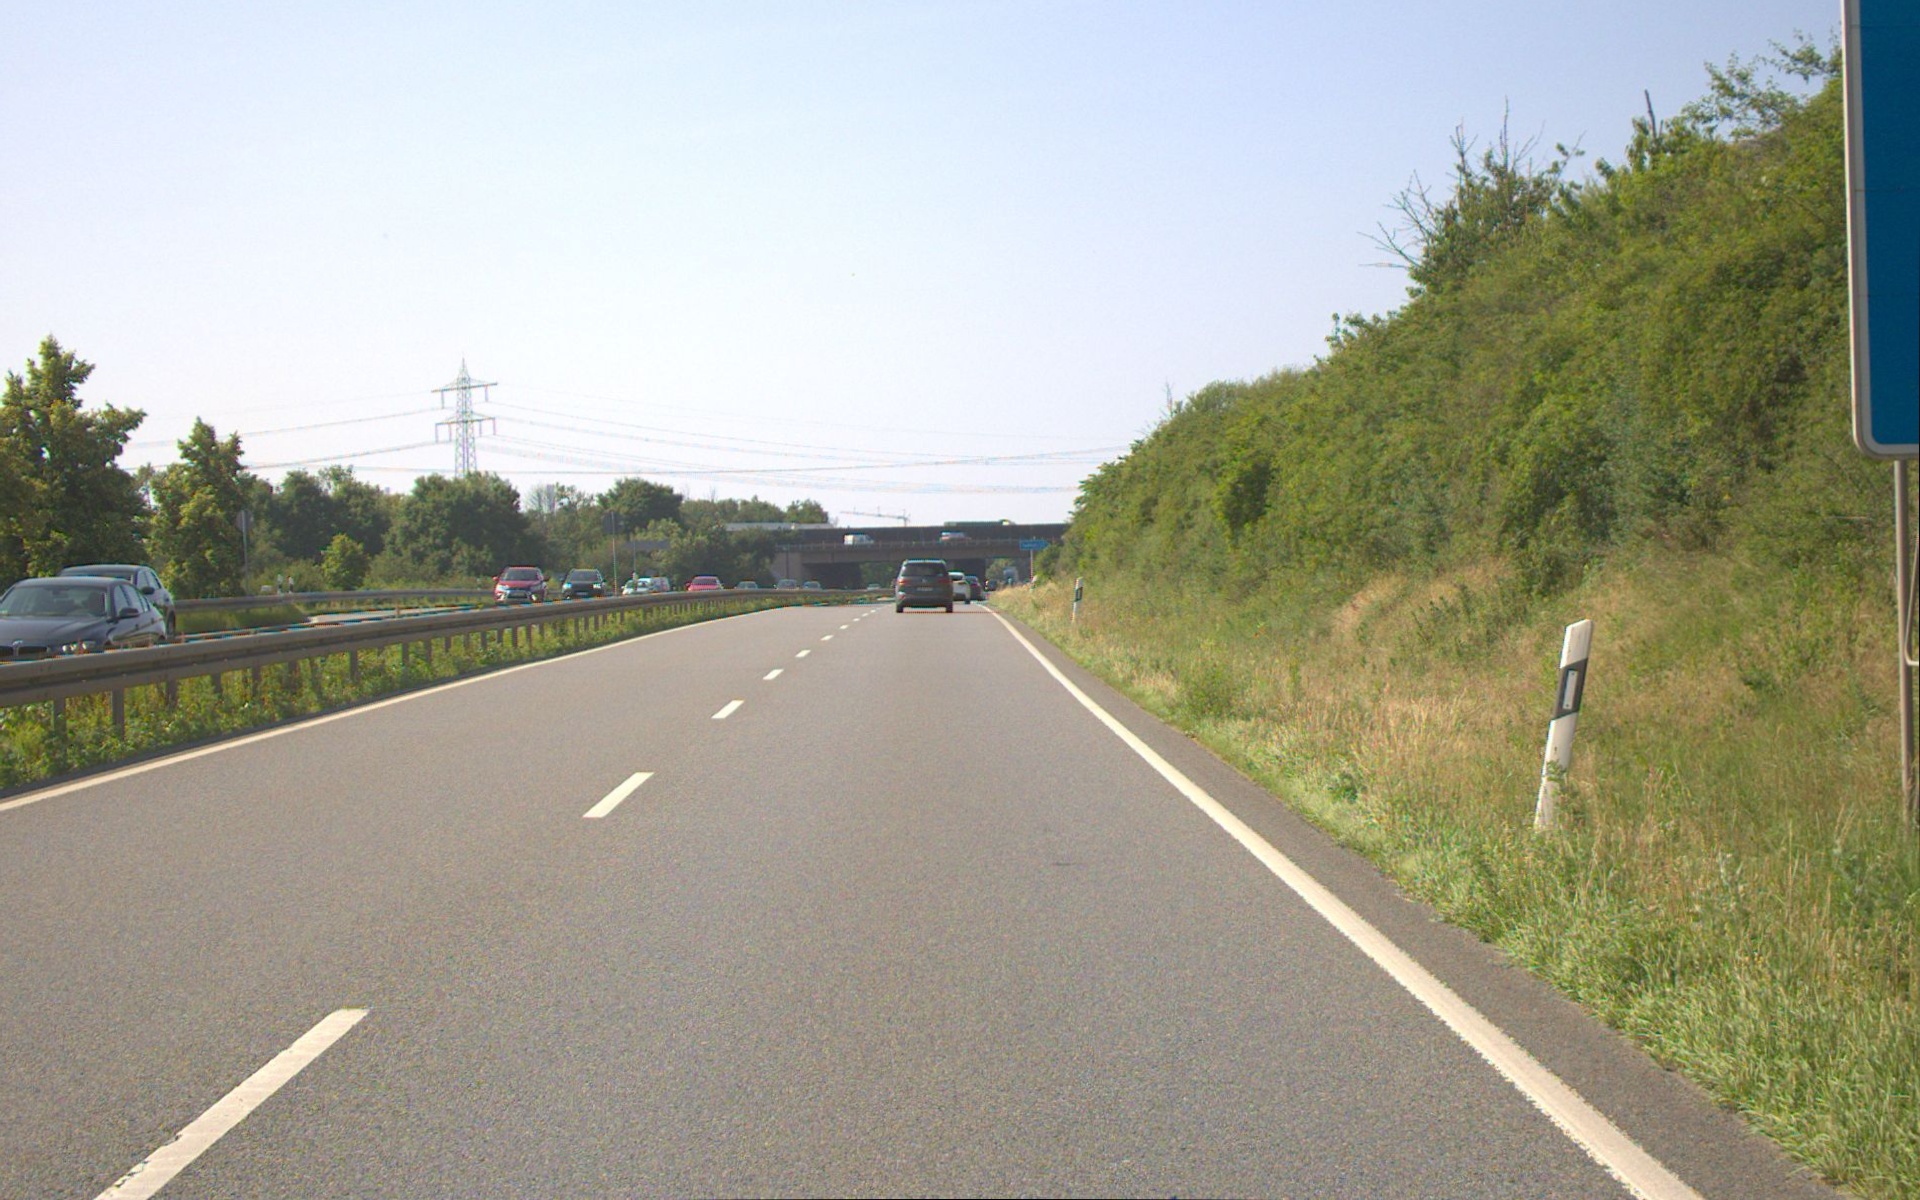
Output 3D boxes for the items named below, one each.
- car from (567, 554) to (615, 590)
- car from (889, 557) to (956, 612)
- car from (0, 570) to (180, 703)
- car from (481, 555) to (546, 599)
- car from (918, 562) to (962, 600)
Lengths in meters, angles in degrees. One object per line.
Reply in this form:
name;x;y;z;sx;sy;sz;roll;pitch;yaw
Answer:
car;-16.554;-1.238;154.317;1.726;1.590;4.221;0;0;0
car;-1.151;-0.472;106.870;1.850;1.639;4.000;0;0;2
car;-11.020;0.410;42.215;1.813;1.536;4.454;-1;1;1
car;-16.948;-0.874;130.630;1.843;1.587;4.773;1;0;0
car;-0.882;-0.876;156.545;1.796;1.660;4.000;2;1;2
